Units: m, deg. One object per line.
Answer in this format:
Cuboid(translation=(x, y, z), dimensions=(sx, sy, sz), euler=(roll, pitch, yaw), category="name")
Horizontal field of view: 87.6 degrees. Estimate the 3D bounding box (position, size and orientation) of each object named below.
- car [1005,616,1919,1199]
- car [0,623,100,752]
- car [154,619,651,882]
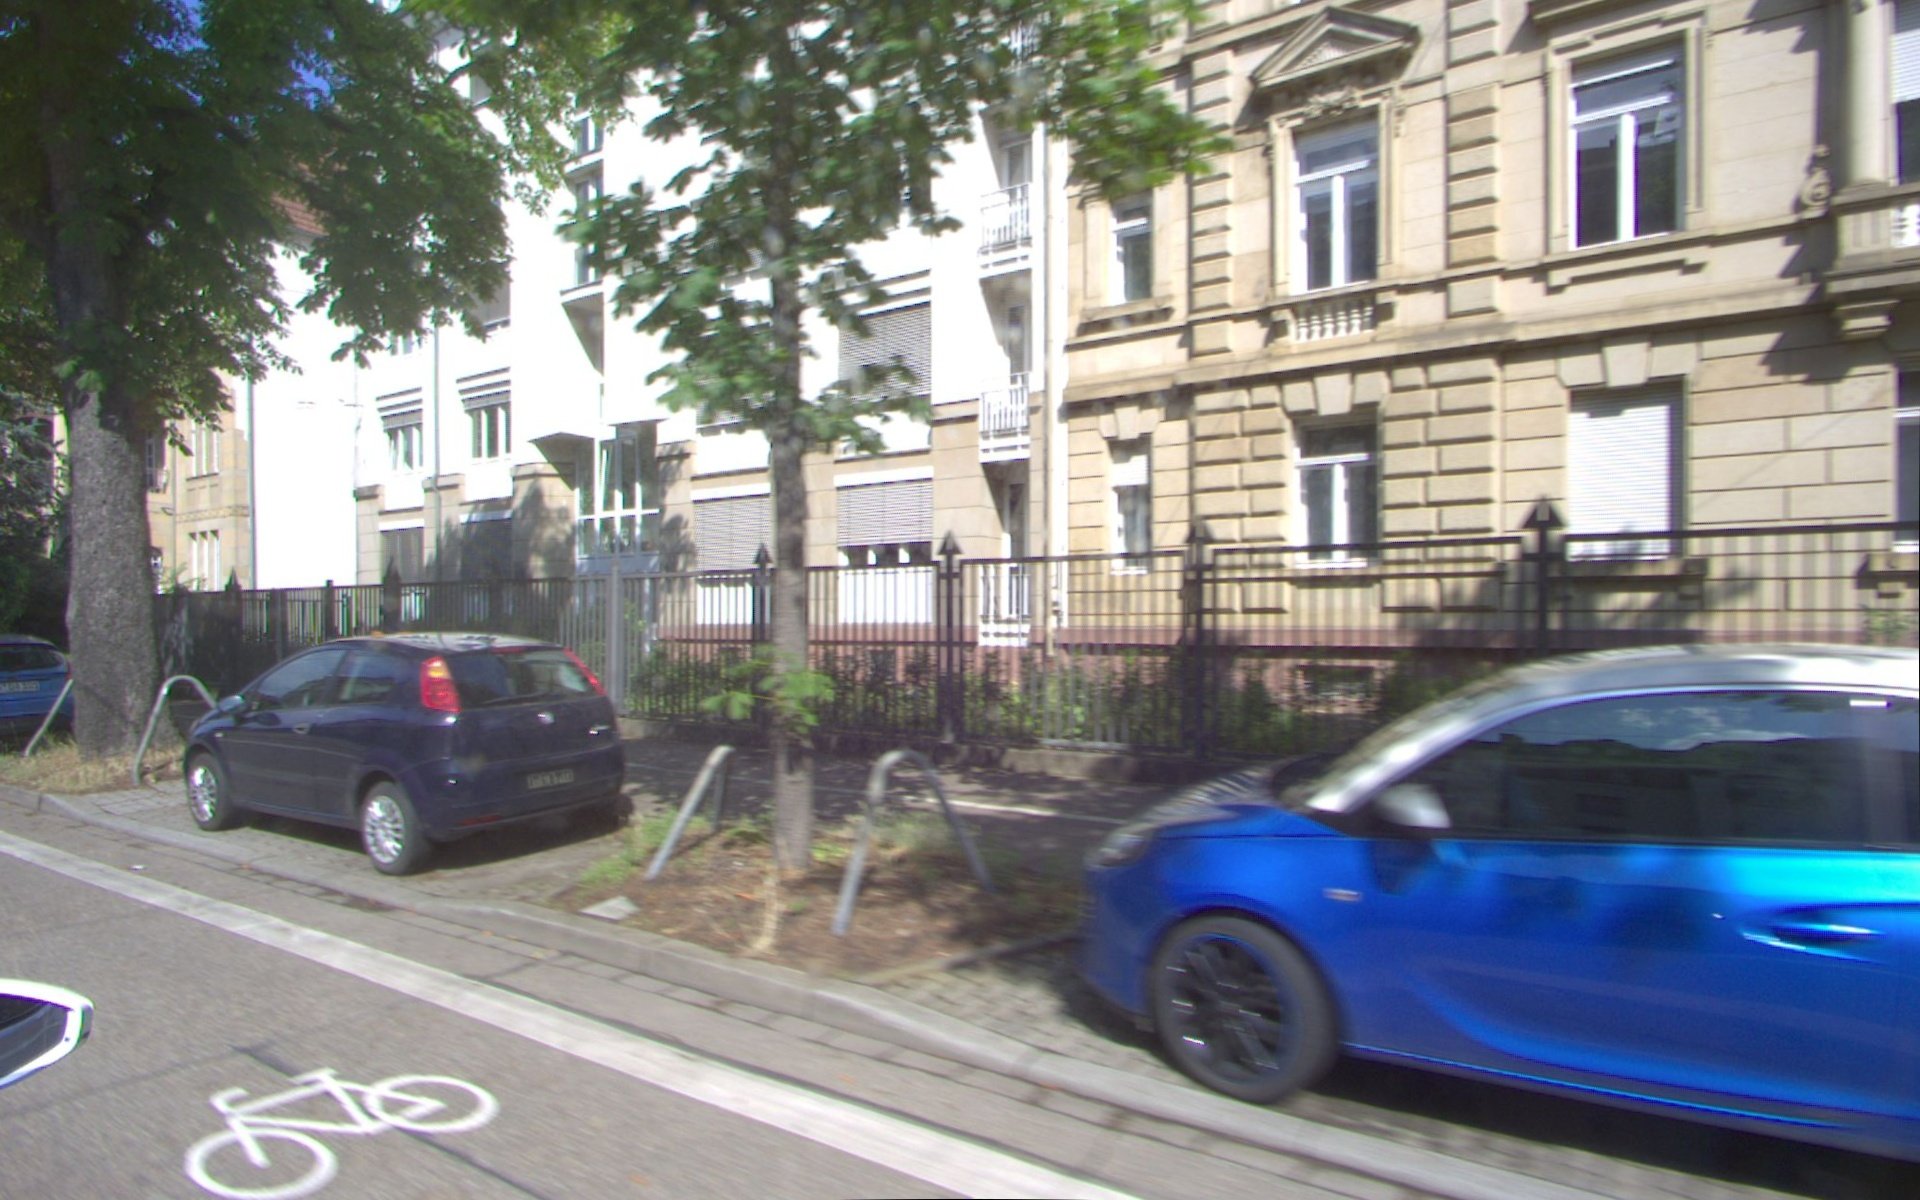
Cuboid(translation=(2.117, 0.837, 3.430), dimensions=(3.573, 1.516, 1.636), euler=(-1, 1, 31), category="car")
Cuboid(translation=(-13.057, 1.089, 13.138), dimensions=(3.793, 1.516, 1.620), euler=(-1, 1, 33), category="car")
Cuboid(translation=(-4.288, 0.932, 7.600), dimensions=(3.702, 1.516, 1.637), euler=(-1, 1, 31), category="car")
